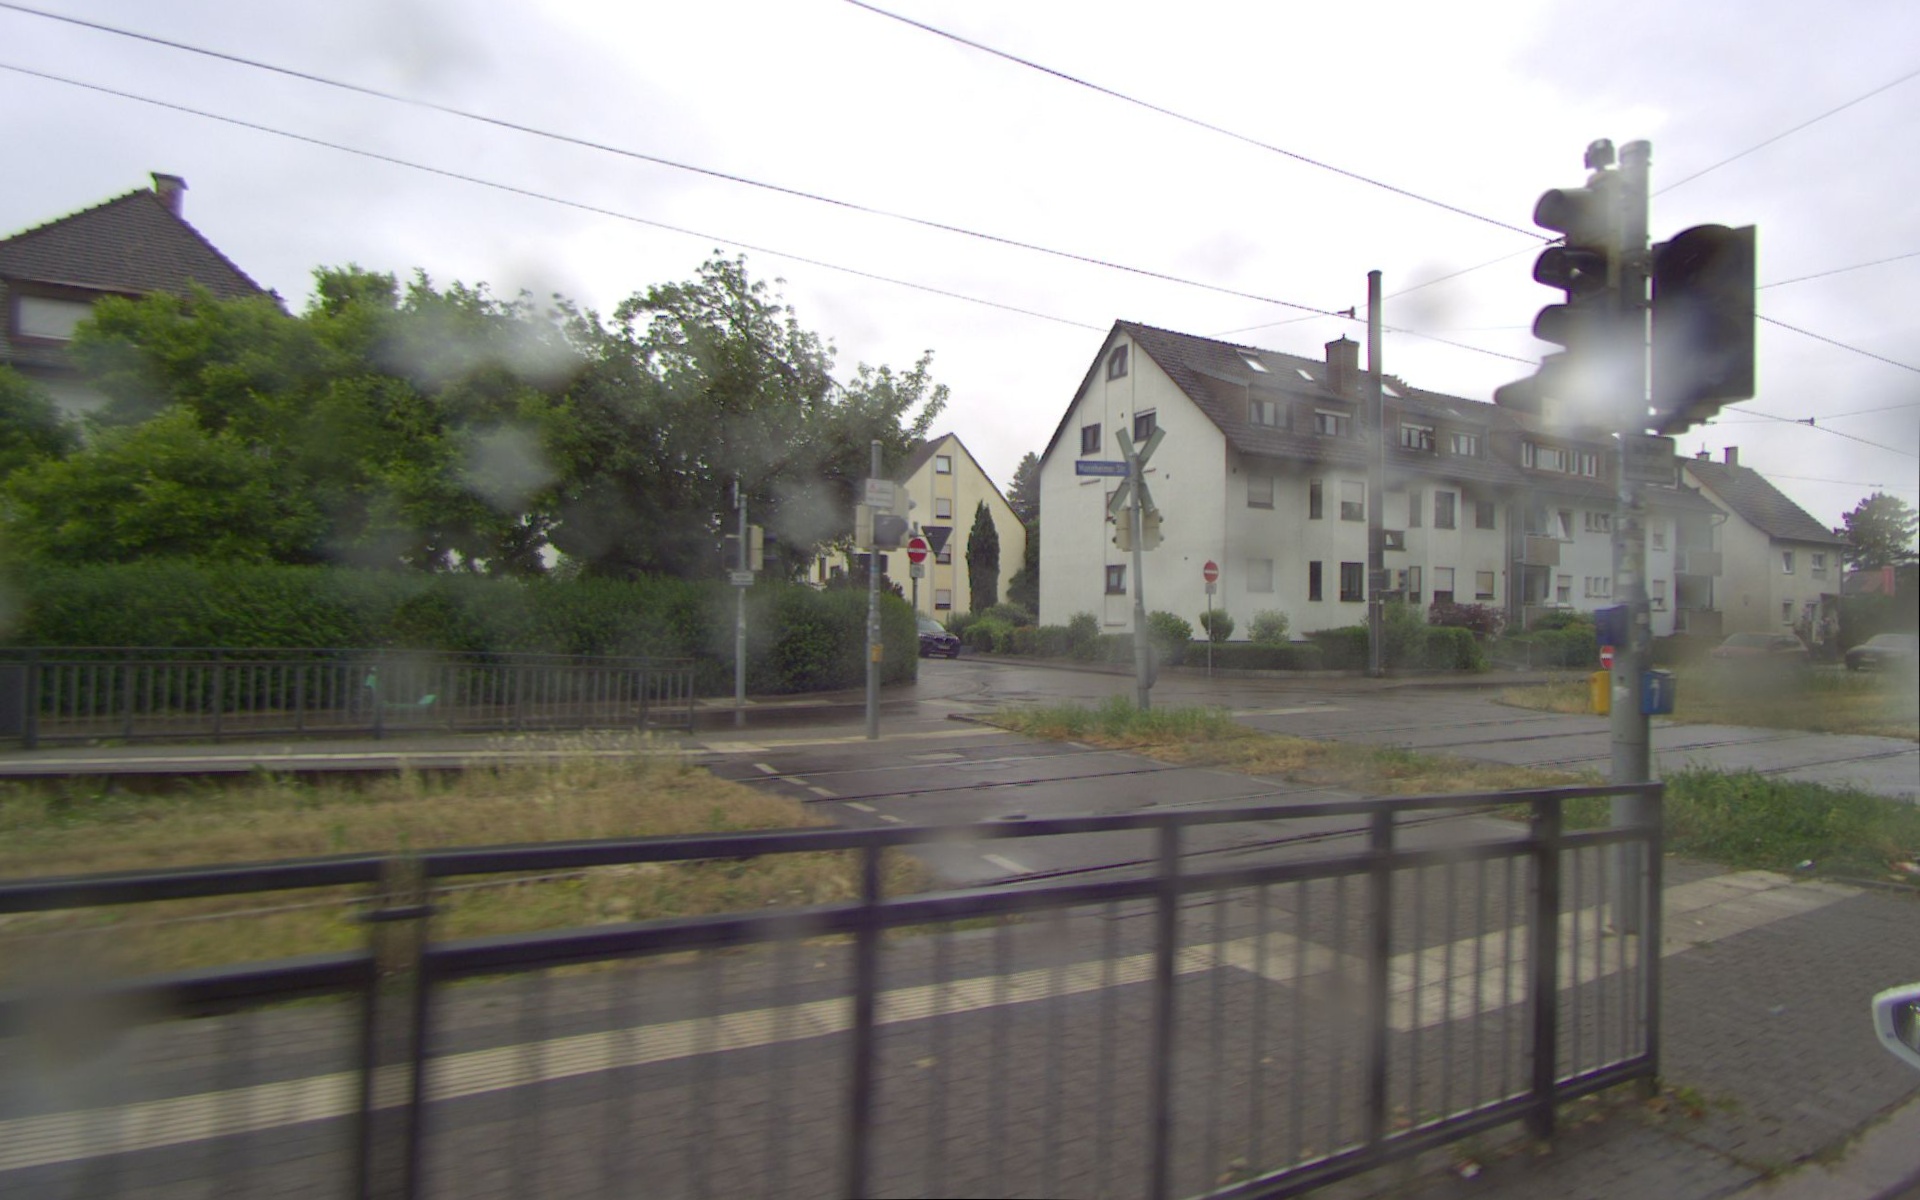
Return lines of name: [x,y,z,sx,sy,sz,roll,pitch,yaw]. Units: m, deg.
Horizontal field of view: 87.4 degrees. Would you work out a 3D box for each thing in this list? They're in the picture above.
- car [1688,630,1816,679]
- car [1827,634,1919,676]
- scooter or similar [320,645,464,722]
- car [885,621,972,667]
car: [26.472,1.810,33.559,3.950,1.506,1.921,2,-1,-28]
car: [35.473,2.111,38.654,3.950,1.506,1.921,2,-1,-28]
scooter or similar: [-8.578,1.249,15.234,1.844,1.086,0.660,2,-1,-30]
car: [-1.320,1.709,40.063,1.974,1.674,3.972,2,-1,-27]
